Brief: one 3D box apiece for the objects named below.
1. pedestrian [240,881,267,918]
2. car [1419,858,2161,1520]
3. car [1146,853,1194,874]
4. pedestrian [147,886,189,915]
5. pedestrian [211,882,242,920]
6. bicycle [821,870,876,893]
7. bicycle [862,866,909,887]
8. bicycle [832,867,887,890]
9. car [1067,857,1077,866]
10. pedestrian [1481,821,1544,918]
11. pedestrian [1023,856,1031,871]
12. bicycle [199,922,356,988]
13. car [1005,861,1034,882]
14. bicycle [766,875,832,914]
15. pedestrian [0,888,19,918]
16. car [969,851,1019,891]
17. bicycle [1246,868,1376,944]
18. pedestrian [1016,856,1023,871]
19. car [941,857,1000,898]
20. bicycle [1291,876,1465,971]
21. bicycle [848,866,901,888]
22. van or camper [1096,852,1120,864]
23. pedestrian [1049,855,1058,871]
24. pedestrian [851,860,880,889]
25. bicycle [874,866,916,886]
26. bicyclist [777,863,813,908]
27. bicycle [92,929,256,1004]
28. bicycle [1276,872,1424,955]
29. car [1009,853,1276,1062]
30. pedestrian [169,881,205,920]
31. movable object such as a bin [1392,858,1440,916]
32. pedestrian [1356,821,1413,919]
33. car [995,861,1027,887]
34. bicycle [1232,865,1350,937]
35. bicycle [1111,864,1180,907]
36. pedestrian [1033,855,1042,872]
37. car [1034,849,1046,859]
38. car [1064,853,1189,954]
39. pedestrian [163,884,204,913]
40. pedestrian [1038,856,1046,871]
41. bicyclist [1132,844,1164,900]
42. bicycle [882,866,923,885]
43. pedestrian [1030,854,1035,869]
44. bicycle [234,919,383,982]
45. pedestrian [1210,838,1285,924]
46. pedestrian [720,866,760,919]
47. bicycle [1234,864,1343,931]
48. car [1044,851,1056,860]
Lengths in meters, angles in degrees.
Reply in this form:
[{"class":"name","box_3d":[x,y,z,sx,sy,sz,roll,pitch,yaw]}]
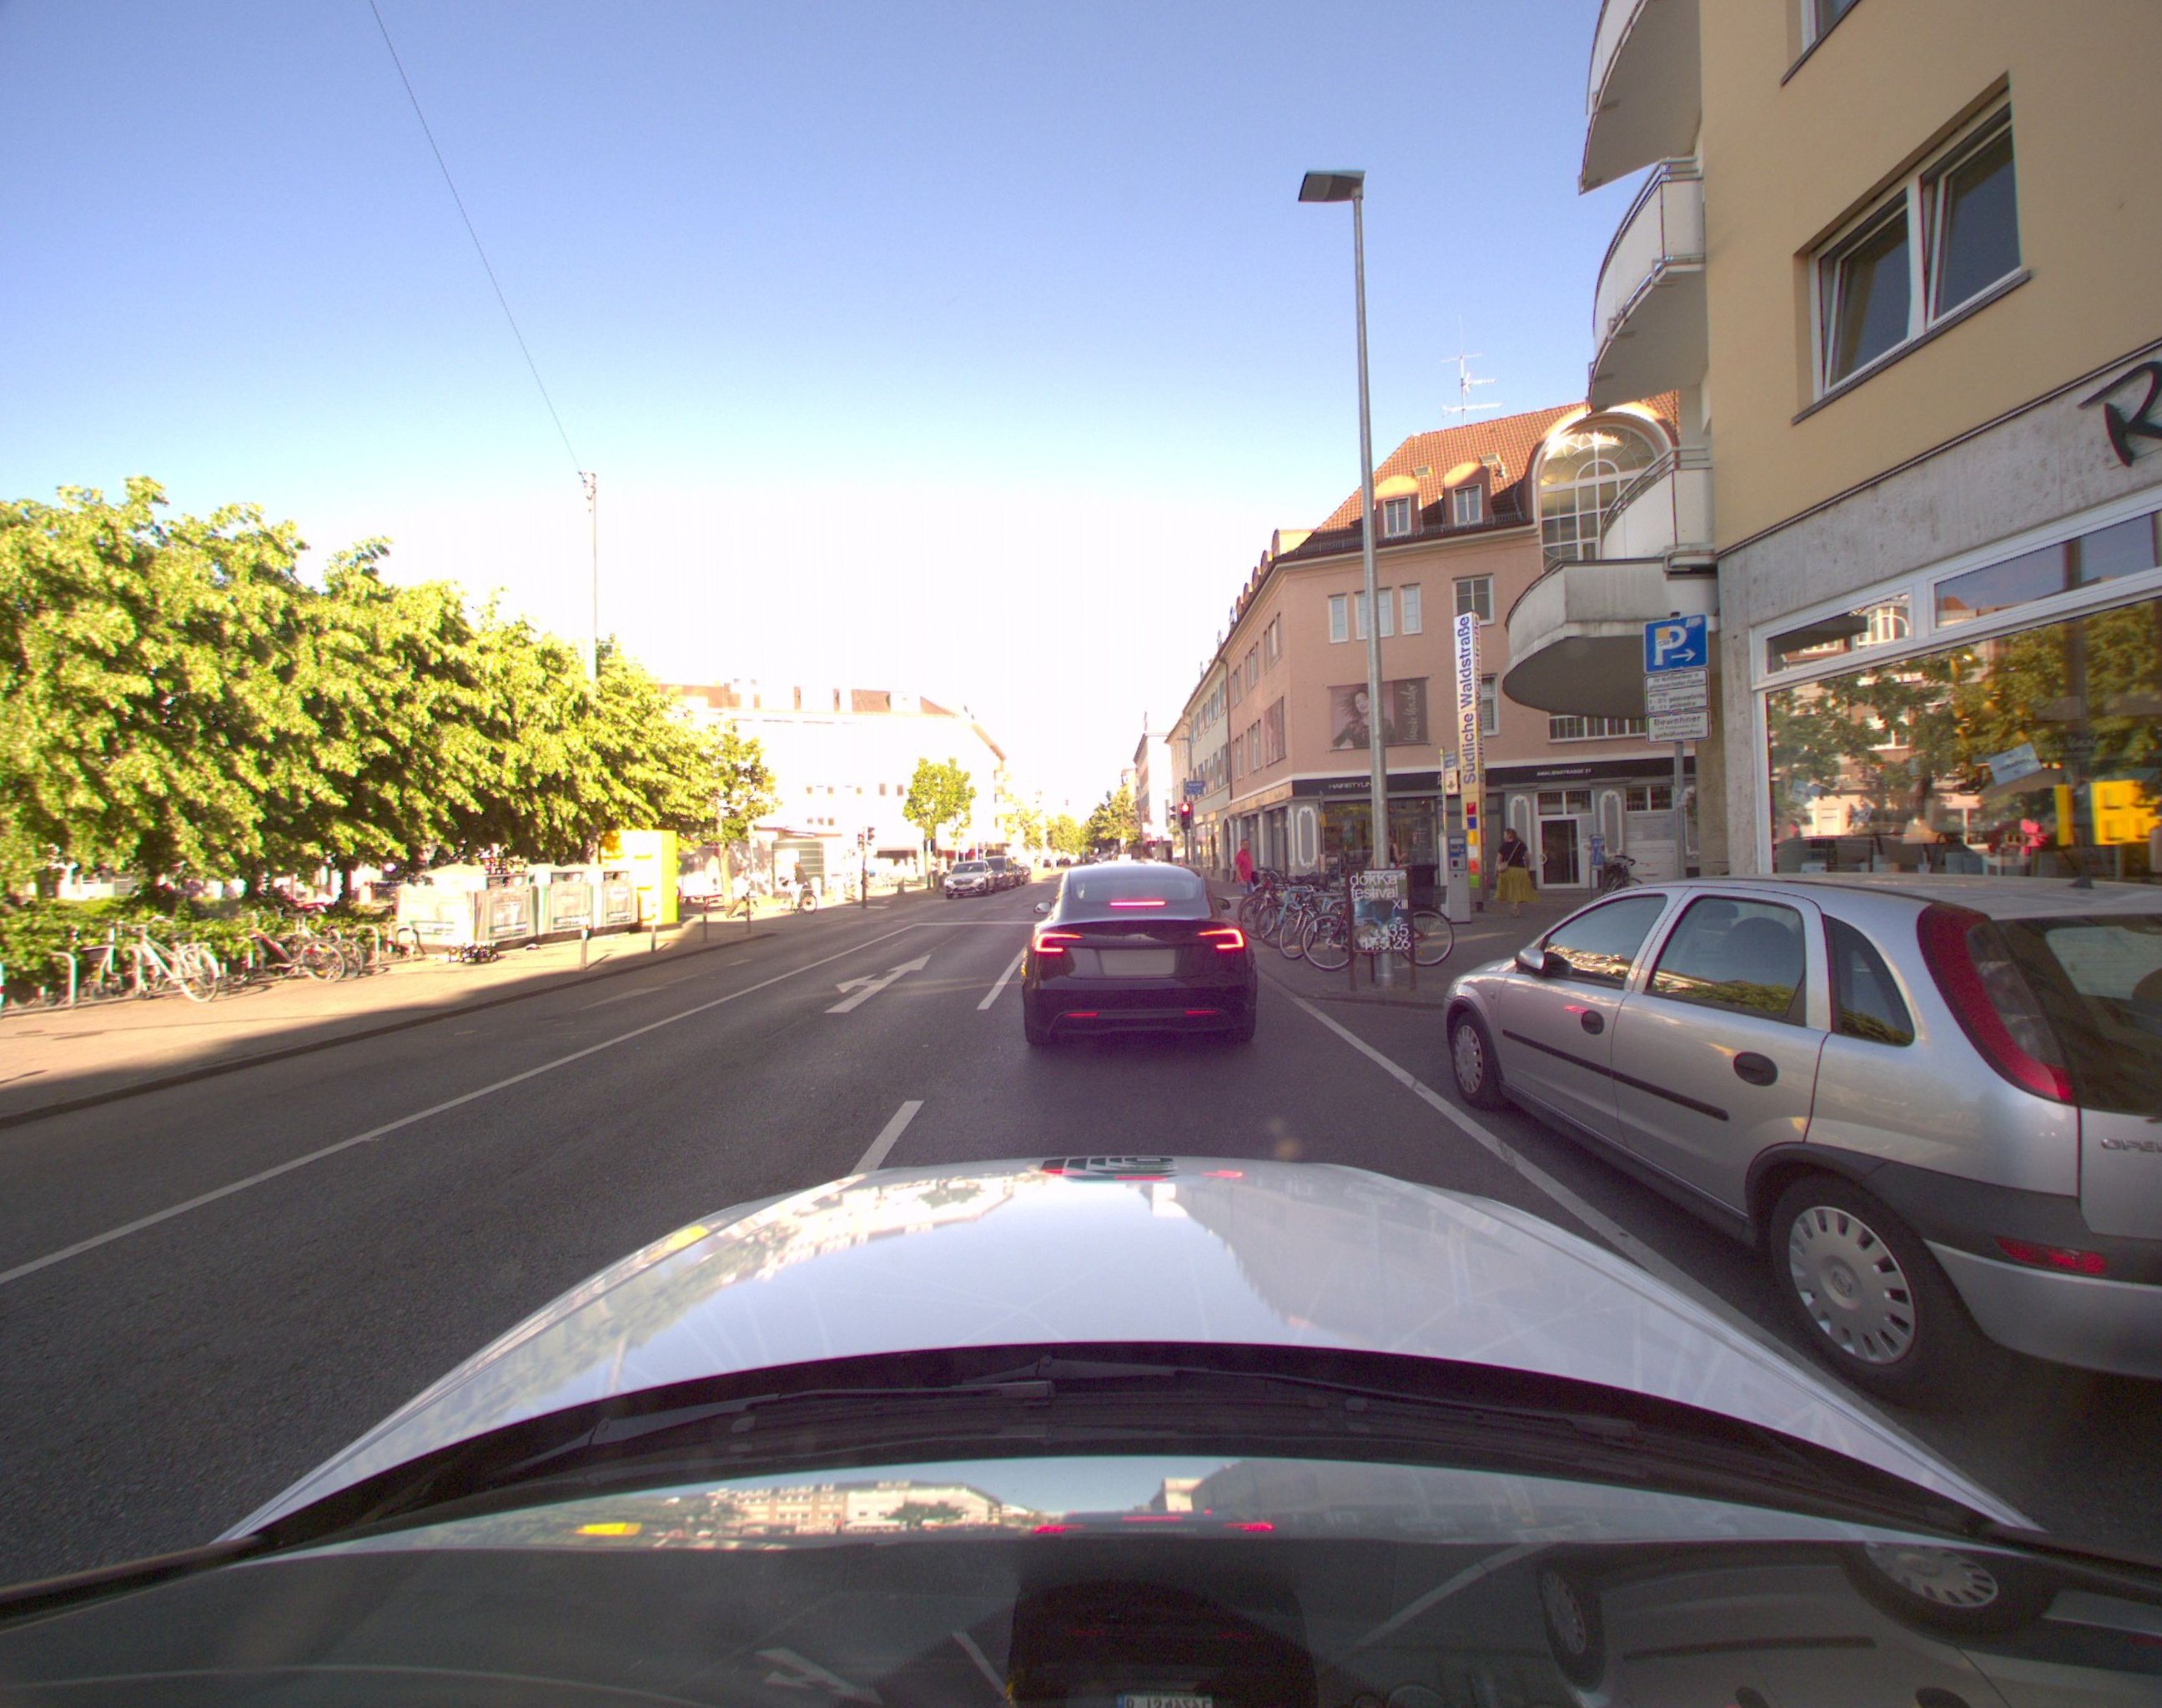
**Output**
[{"class":"pedestrian","box_3d":[-34.941,1.908,34.399,0.553,1.508,0.611,-1,-1,17]},{"class":"car","box_3d":[2.964,0.737,3.553,1.578,1.426,3.581,0,-1,2]},{"class":"car","box_3d":[8.149,0.874,74.656,4.006,1.867,1.686,-1,0,-20]},{"class":"pedestrian","box_3d":[-38.905,1.969,34.714,0.926,1.214,0.873,-1,-1,17]},{"class":"pedestrian","box_3d":[-35.441,1.935,33.779,0.827,1.520,0.782,-1,-1,38]},{"class":"bicycle","box_3d":[-12.323,1.438,43.251,2.652,1.195,0.942,0,-1,-1]},{"class":"bicycle","box_3d":[-12.052,1.387,50.308,2.655,1.259,0.942,0,-1,-1]},{"class":"bicycle","box_3d":[-12.391,1.371,45.594,2.772,1.274,0.933,0,-1,-2]},{"class":"car","box_3d":[-1.995,1.781,187.435,2.124,1.970,4.135,-1,0,2]},{"class":"pedestrian","box_3d":[8.230,0.290,15.570,0.717,1.754,0.789,-4,-1,7]},{"class":"pedestrian","box_3d":[-6.443,1.131,97.415,0.734,1.868,0.787,0,-1,-15]},{"class":"bicycle","box_3d":[-11.423,1.423,11.609,1.667,0.859,0.469,0,-1,-5]},{"class":"car","box_3d":[-4.311,1.219,57.300,1.688,1.390,3.915,-3,-1,0]},{"class":"bicycle","box_3d":[-9.286,1.337,26.840,1.981,1.223,0.632,1,-2,11]},{"class":"pedestrian","box_3d":[-66.741,3.028,50.167,1.305,1.842,1.091,0,-1,-31]},{"class":"car","box_3d":[-4.493,0.835,42.927,1.938,1.947,4.822,-1,0,2]},{"class":"bicycle","box_3d":[3.522,0.790,12.573,1.806,1.102,0.653,-1,0,3]},{"class":"pedestrian","box_3d":[-7.354,1.137,97.363,0.734,1.868,0.787,0,-1,-15]},{"class":"car","box_3d":[-4.881,1.016,36.604,1.818,1.565,4.302,-5,-1,2]},{"class":"bicycle","box_3d":[3.639,0.844,10.089,1.875,1.044,0.653,-2,0,3]},{"class":"bicycle","box_3d":[-12.152,1.364,47.990,2.867,1.270,0.942,0,-1,-1]},{"class":"van or camper","box_3d":[5.636,0.855,167.667,4.832,2.438,1.851,-1,0,1]},{"class":"pedestrian","box_3d":[-3.224,1.099,96.284,0.777,1.868,1.002,0,-1,-21]},{"class":"pedestrian","box_3d":[-12.457,1.177,47.050,1.083,1.611,1.273,-1,-1,20]},{"class":"bicycle","box_3d":[-11.997,1.401,52.583,2.535,1.251,0.942,0,-1,-1]},{"class":"bicyclist","box_3d":[-9.429,1.031,26.876,0.949,1.484,0.610,-1,-1,11]},{"class":"bicycle","box_3d":[-11.458,1.417,10.312,1.560,0.886,0.470,0,-1,1]},{"class":"bicycle","box_3d":[3.659,0.797,11.162,1.806,1.060,0.653,-1,0,3]},{"class":"car","box_3d":[0.499,0.738,7.889,1.843,1.447,4.453,0,0,2]},{"class":"pedestrian","box_3d":[-36.700,1.897,33.440,0.928,1.520,0.924,0,-1,-43]},{"class":"movable object such as a bin","box_3d":[6.748,0.659,16.429,0.633,1.103,0.728,-4,-1,5]},{"class":"pedestrian","box_3d":[6.001,0.311,16.131,0.678,1.849,0.894,-5,-1,3]},{"class":"car","box_3d":[-4.254,1.205,50.053,1.455,1.430,3.607,-5,-1,2]},{"class":"bicycle","box_3d":[3.499,0.774,13.648,1.806,1.152,0.653,-1,0,3]},{"class":"bicycle","box_3d":[1.931,0.937,24.376,1.942,1.158,0.577,-3,-1,9]},{"class":"pedestrian","box_3d":[-5.045,1.100,94.819,0.726,1.868,0.796,-1,-1,30]},{"class":"car","box_3d":[-9.017,-0.010,180.144,2.266,2.014,4.720,0,-1,3]},{"class":"car","box_3d":[0.745,0.749,14.313,1.843,1.482,4.453,0,0,2]},{"class":"pedestrian","box_3d":[-39.128,1.942,35.502,0.857,1.214,0.904,-1,-1,17]},{"class":"pedestrian","box_3d":[-4.729,1.127,98.410,0.696,1.868,0.905,0,-1,-16]},{"class":"bicyclist","box_3d":[2.003,0.526,24.382,0.821,1.614,0.581,-3,0,10]},{"class":"bicycle","box_3d":[-12.051,1.421,55.010,2.535,1.251,0.942,0,-1,-1]},{"class":"pedestrian","box_3d":[-6.213,0.979,104.231,0.693,1.868,0.658,0,-1,-3]},{"class":"bicycle","box_3d":[-11.458,1.424,12.108,1.663,0.859,0.469,0,-1,-5]},{"class":"pedestrian","box_3d":[3.490,0.550,17.074,1.067,1.719,1.100,0,-1,-43]},{"class":"pedestrian","box_3d":[-10.266,1.149,24.548,0.919,1.543,0.694,0,-1,-4]},{"class":"bicycle","box_3d":[3.740,0.782,14.778,1.806,1.152,0.653,-1,0,3]},{"class":"car","box_3d":[-7.161,0.294,188.739,2.266,2.014,4.720,0,-1,3]}]
